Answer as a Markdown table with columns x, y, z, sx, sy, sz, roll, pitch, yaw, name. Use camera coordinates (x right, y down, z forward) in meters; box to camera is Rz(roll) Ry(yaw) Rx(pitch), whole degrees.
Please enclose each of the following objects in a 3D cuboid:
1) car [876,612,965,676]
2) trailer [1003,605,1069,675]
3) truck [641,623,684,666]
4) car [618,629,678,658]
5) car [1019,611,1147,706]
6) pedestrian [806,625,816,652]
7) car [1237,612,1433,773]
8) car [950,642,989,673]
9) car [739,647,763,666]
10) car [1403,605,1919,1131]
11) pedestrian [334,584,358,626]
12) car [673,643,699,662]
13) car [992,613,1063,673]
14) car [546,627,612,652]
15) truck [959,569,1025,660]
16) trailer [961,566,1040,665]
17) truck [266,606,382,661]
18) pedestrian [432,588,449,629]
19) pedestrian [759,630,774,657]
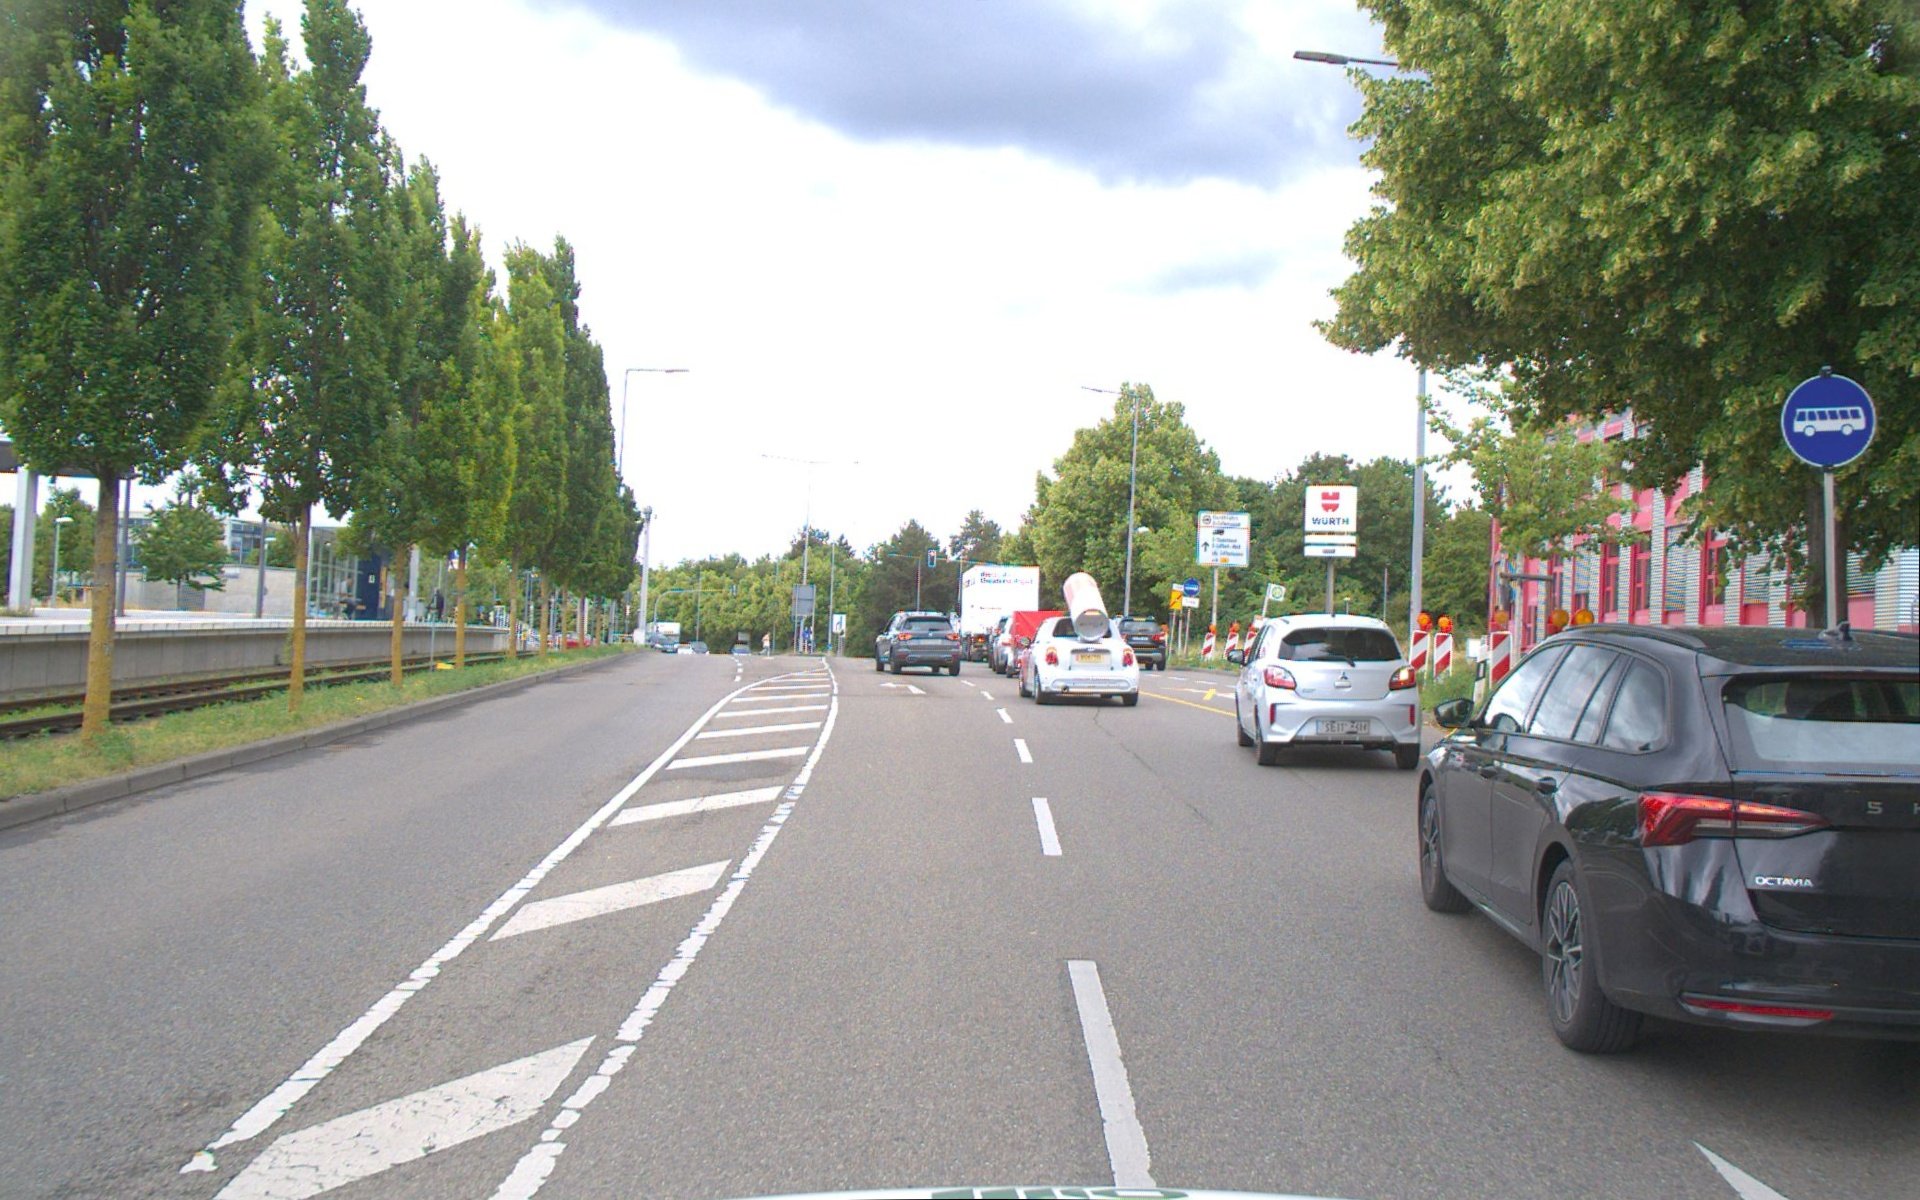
| x | y | z | sx | sy | sz | roll | pitch | yaw | name |
| --- | --- | --- | --- | --- | --- | --- | --- | --- | --- |
| -1.058 | 1.080 | 41.830 | 1.667 | 1.512 | 3.990 | 1 | 0 | -10 | car |
| 1.824 | 0.967 | 40.545 | 1.380 | 1.622 | 3.302 | 1 | -1 | -1 | trailer |
| -28.833 | 4.266 | 160.053 | 2.619 | 3.713 | 9.452 | 3 | -1 | -19 | truck |
| -19.912 | 2.797 | 105.652 | 3.626 | 1.601 | 1.727 | 3 | -3 | -8 | car |
| 2.033 | 0.975 | 28.277 | 1.684 | 1.483 | 3.693 | 1 | -1 | -4 | car |
| -9.221 | 2.395 | 102.161 | 0.575 | 1.650 | 0.422 | 1 | 0 | -6 | pedestrian |
| 3.860 | 0.901 | 17.537 | 1.589 | 1.483 | 3.691 | 1 | -1 | 6 | car |
| 0.458 | 2.815 | 81.419 | 1.775 | 1.378 | 4.117 | 1 | 0 | -1 | car |
| -19.279 | 5.245 | 152.919 | 1.877 | 1.604 | 3.998 | -1 | 0 | -3 | car |
| 3.123 | 0.814 | 6.768 | 1.797 | 1.458 | 4.280 | 1 | -1 | 5 | car |
| -19.515 | 0.152 | 52.581 | 0.599 | 1.291 | 0.658 | 1 | 0 | -10 | pedestrian |
| -25.106 | 4.780 | 151.653 | 1.739 | 1.534 | 3.746 | -2 | 1 | -1 | car |
| 1.756 | 1.150 | 44.439 | 1.637 | 1.473 | 4.488 | 1 | -1 | -1 | car |
| -25.518 | 2.649 | 110.727 | 3.989 | 1.514 | 1.708 | 1 | -3 | 20 | car |
| 1.350 | 0.630 | 71.999 | 2.520 | 3.770 | 4.103 | 1 | -1 | -4 | truck |
| 1.586 | 0.606 | 68.159 | 2.515 | 3.770 | 7.758 | 1 | 0 | -4 | trailer |
| -44.973 | 2.346 | 117.145 | 7.092 | 3.661 | 2.691 | 1 | 0 | -1 | truck |
| -24.070 | 0.394 | 76.629 | 0.561 | 1.860 | 0.792 | 2 | -3 | -8 | pedestrian |
| -11.711 | 2.635 | 99.988 | 0.847 | 1.588 | 0.517 | 1 | 0 | -6 | pedestrian |
